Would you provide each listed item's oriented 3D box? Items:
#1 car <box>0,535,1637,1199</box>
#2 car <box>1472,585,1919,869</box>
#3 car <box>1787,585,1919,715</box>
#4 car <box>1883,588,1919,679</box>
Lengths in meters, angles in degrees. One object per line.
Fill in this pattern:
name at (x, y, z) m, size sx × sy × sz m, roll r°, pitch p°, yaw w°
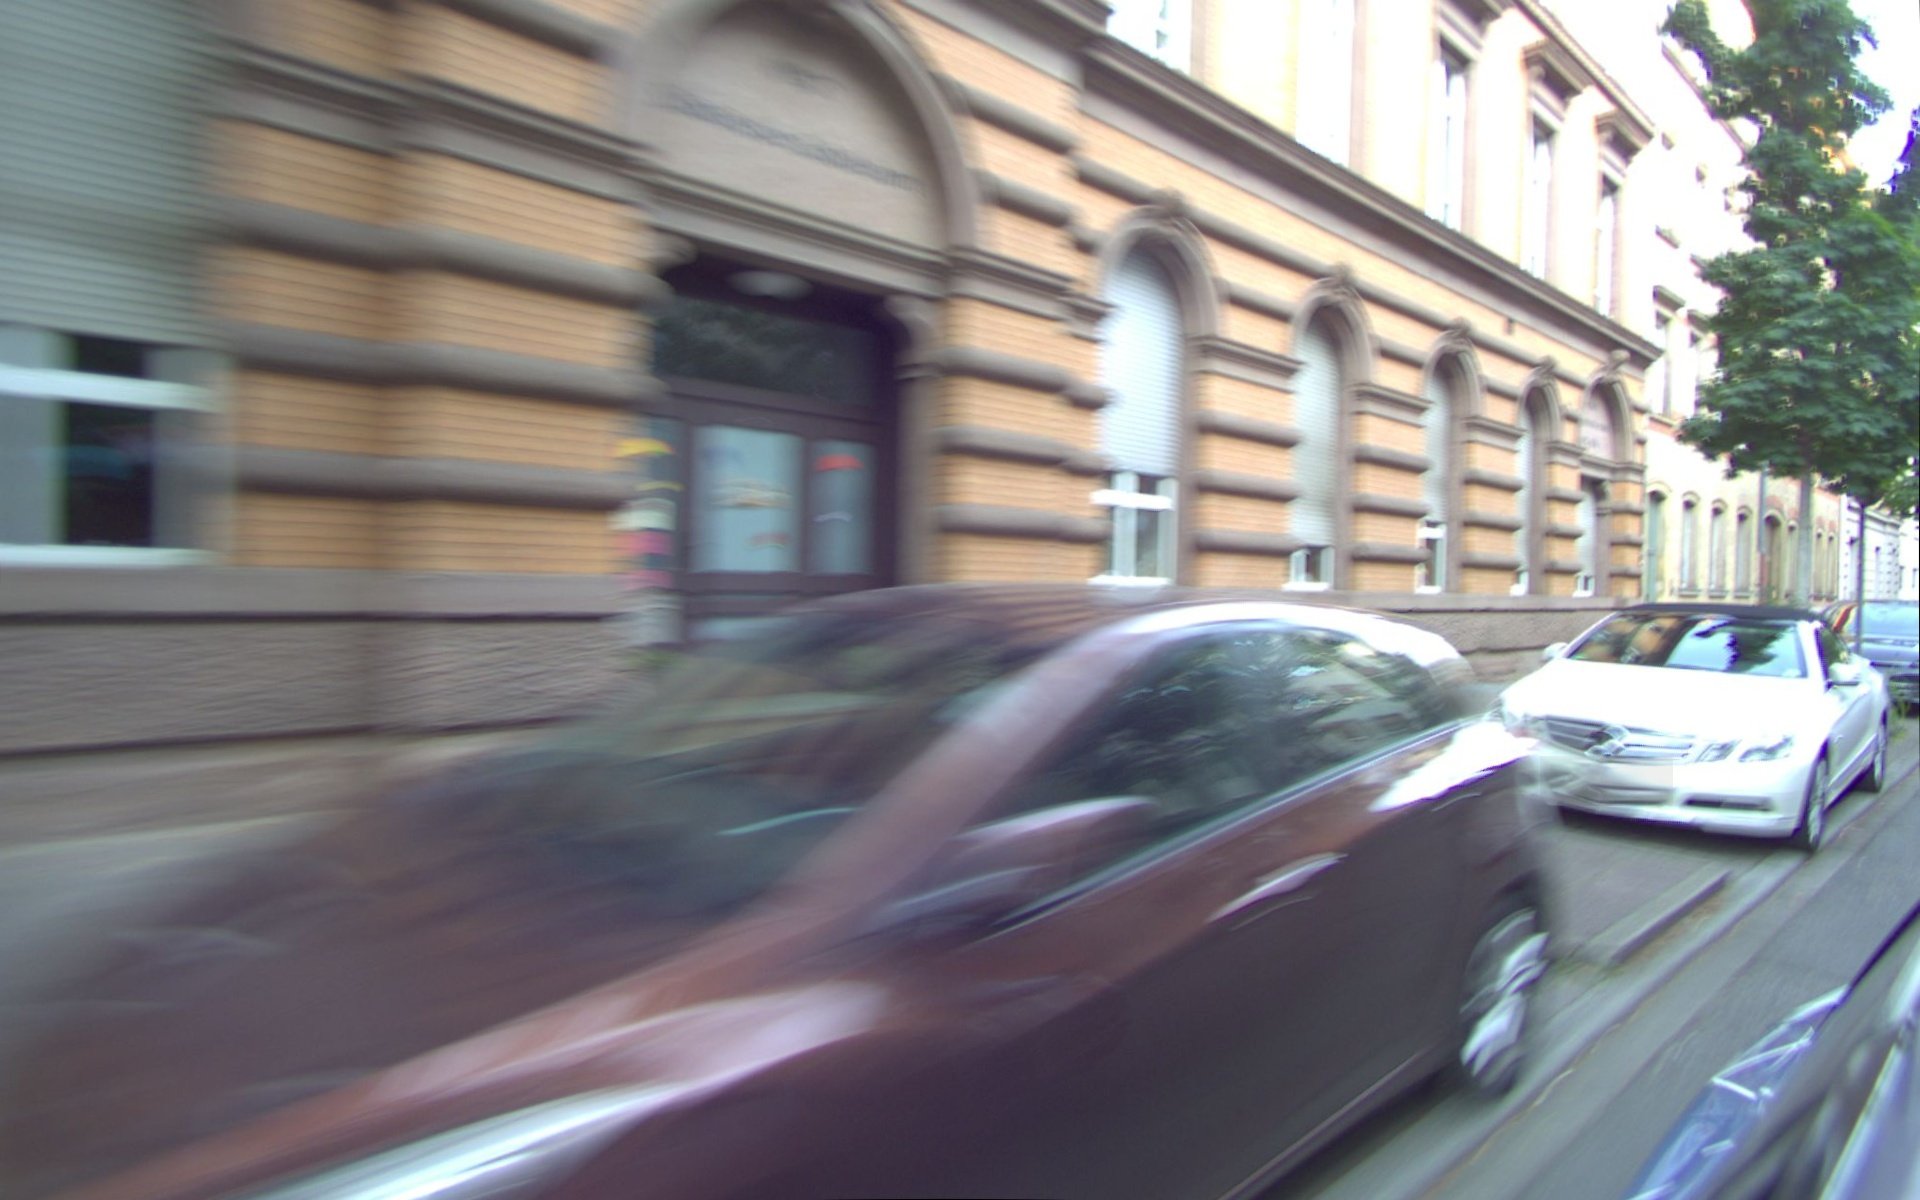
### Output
car at (0.176, 0.644, 2.787) m, size 4.141 × 1.467 × 1.726 m, roll 0°, pitch 3°, yaw -41°
car at (5.633, 0.675, 7.455) m, size 4.565 × 1.418 × 1.697 m, roll 1°, pitch 3°, yaw -41°
car at (12.625, 0.601, 13.565) m, size 4.119 × 1.496 × 1.715 m, roll 1°, pitch 2°, yaw -41°
car at (17.785, 0.597, 17.990) m, size 4.173 × 1.484 × 1.630 m, roll 0°, pitch 2°, yaw -43°
